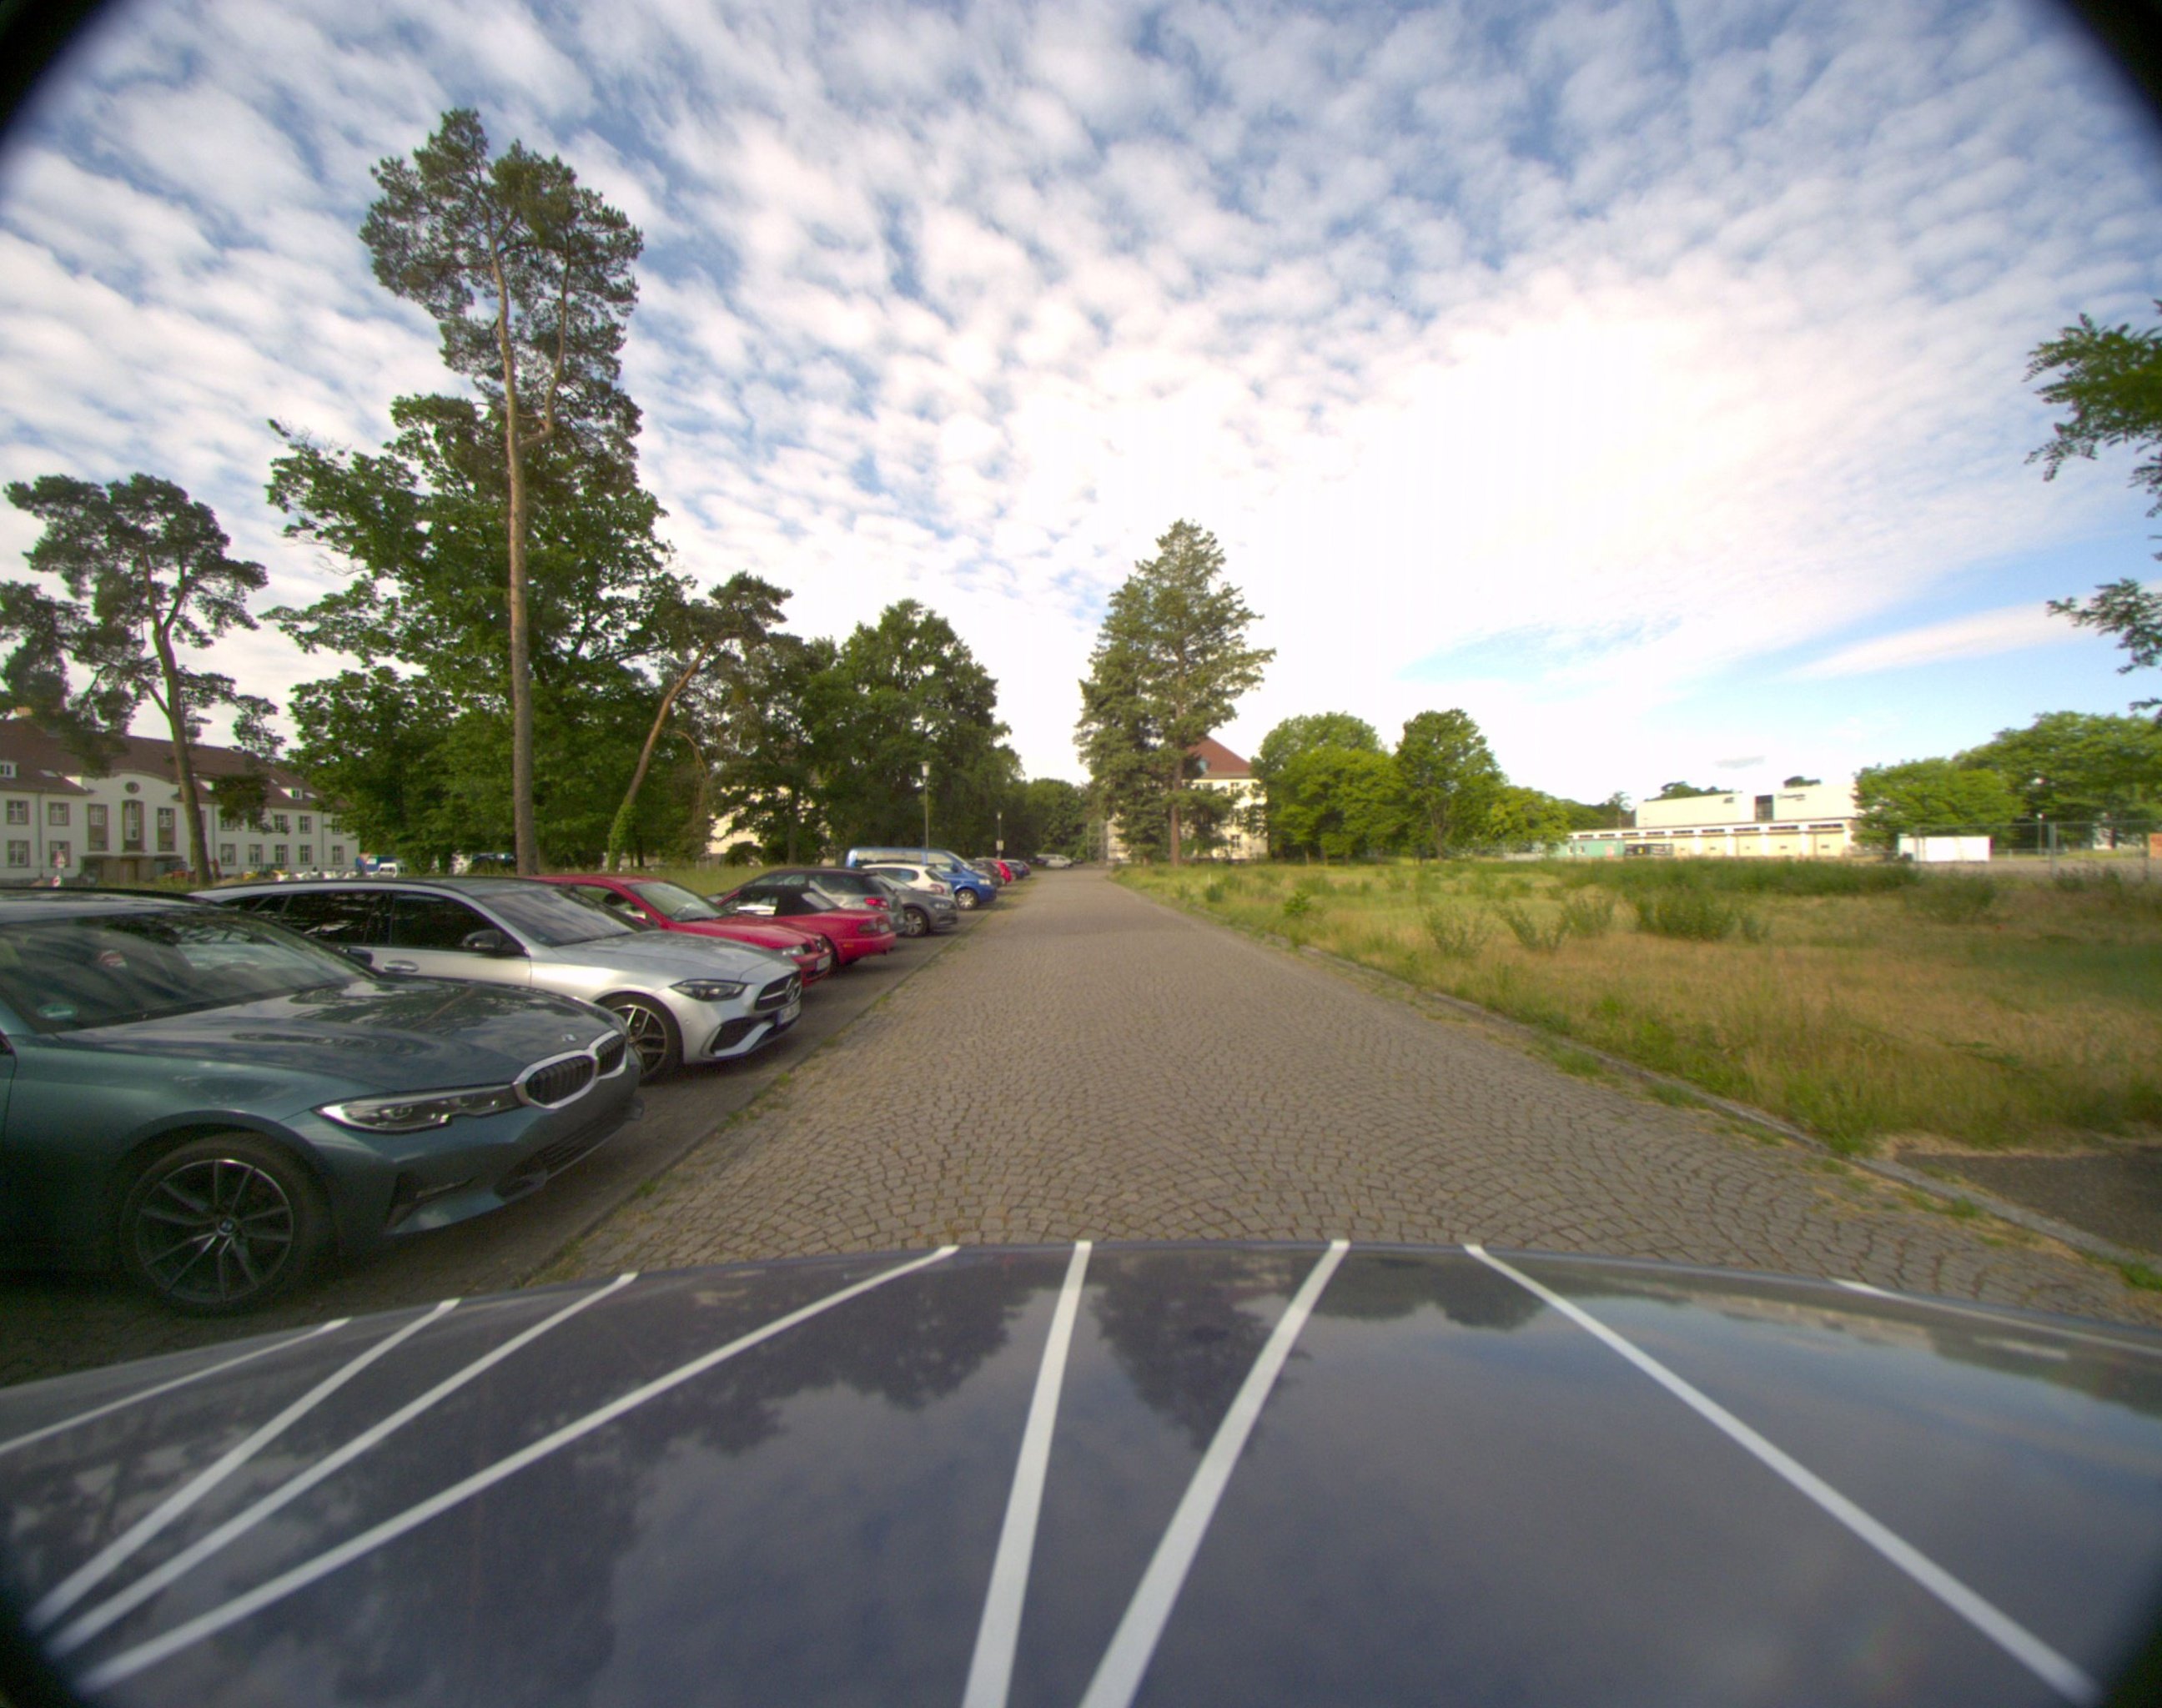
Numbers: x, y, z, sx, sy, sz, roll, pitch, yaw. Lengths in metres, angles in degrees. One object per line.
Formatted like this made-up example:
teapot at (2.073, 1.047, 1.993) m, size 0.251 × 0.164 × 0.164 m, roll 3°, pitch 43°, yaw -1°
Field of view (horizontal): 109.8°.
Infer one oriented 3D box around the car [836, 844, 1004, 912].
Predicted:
car at (-5.075, 0.740, 24.484) m, size 4.954 × 2.011 × 2.060 m, roll 1°, pitch 0°, yaw -1°

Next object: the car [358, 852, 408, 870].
car at (-84.000, 0.817, 91.543) m, size 2.218 × 2.002 × 4.001 m, roll -1°, pitch 0°, yaw 4°

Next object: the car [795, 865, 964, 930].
car at (-4.968, 1.060, 19.062) m, size 3.762 × 1.490 × 1.581 m, roll -1°, pitch 0°, yaw 0°

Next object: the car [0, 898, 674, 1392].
car at (-4.541, 1.021, 3.288) m, size 4.526 × 1.474 × 1.807 m, roll -1°, pitch 0°, yaw -4°

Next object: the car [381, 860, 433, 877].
car at (-70.109, 1.529, 79.054) m, size 1.847 × 1.674 × 3.937 m, roll 1°, pitch 0°, yaw 2°

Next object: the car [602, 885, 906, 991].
car at (-4.424, 1.125, 10.666) m, size 3.555 × 1.279 × 1.608 m, roll -1°, pitch -1°, yaw 0°

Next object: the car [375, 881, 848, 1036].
car at (-4.920, 1.067, 8.410) m, size 4.118 × 1.415 × 1.719 m, roll -1°, pitch 0°, yaw -1°

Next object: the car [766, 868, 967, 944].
car at (-4.442, 1.059, 16.126) m, size 3.781 × 1.457 × 1.643 m, roll -1°, pitch 0°, yaw 0°

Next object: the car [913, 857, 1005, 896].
car at (-5.257, 0.974, 33.126) m, size 3.839 × 1.592 × 1.580 m, roll -1°, pitch 0°, yaw -5°

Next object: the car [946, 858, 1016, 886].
car at (-5.683, 1.012, 43.510) m, size 3.839 × 1.516 × 1.580 m, roll -1°, pitch 0°, yaw -5°

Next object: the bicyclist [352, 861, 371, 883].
bicyclist at (-60.094, 1.487, 63.468) m, size 0.667 × 1.724 × 0.844 m, roll -3°, pitch 1°, yaw 2°

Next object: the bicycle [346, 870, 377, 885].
bicycle at (-60.083, 1.952, 63.458) m, size 0.638 × 1.201 × 1.981 m, roll -1°, pitch 0°, yaw 2°

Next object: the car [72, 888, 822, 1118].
car at (-4.510, 1.028, 5.991) m, size 4.337 × 1.420 × 1.766 m, roll 0°, pitch 0°, yaw -3°

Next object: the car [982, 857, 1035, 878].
car at (-5.587, 1.022, 58.682) m, size 3.836 × 1.520 × 1.674 m, roll -1°, pitch 0°, yaw 3°

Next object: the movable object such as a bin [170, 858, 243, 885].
movable object such as a bin at (-92.326, 1.822, 80.338) m, size 2.000 × 2.752 × 5.201 m, roll -1°, pitch 0°, yaw -6°

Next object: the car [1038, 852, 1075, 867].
car at (-3.423, 0.799, 107.440) m, size 5.130 × 2.002 × 1.804 m, roll -1°, pitch 0°, yaw -3°

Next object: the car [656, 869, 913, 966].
car at (-5.026, 1.046, 13.256) m, size 3.838 × 1.494 × 1.604 m, roll -1°, pitch 0°, yaw -2°

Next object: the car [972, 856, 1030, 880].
car at (-5.664, 0.963, 53.921) m, size 3.836 × 1.609 × 1.581 m, roll -1°, pitch 0°, yaw 3°
